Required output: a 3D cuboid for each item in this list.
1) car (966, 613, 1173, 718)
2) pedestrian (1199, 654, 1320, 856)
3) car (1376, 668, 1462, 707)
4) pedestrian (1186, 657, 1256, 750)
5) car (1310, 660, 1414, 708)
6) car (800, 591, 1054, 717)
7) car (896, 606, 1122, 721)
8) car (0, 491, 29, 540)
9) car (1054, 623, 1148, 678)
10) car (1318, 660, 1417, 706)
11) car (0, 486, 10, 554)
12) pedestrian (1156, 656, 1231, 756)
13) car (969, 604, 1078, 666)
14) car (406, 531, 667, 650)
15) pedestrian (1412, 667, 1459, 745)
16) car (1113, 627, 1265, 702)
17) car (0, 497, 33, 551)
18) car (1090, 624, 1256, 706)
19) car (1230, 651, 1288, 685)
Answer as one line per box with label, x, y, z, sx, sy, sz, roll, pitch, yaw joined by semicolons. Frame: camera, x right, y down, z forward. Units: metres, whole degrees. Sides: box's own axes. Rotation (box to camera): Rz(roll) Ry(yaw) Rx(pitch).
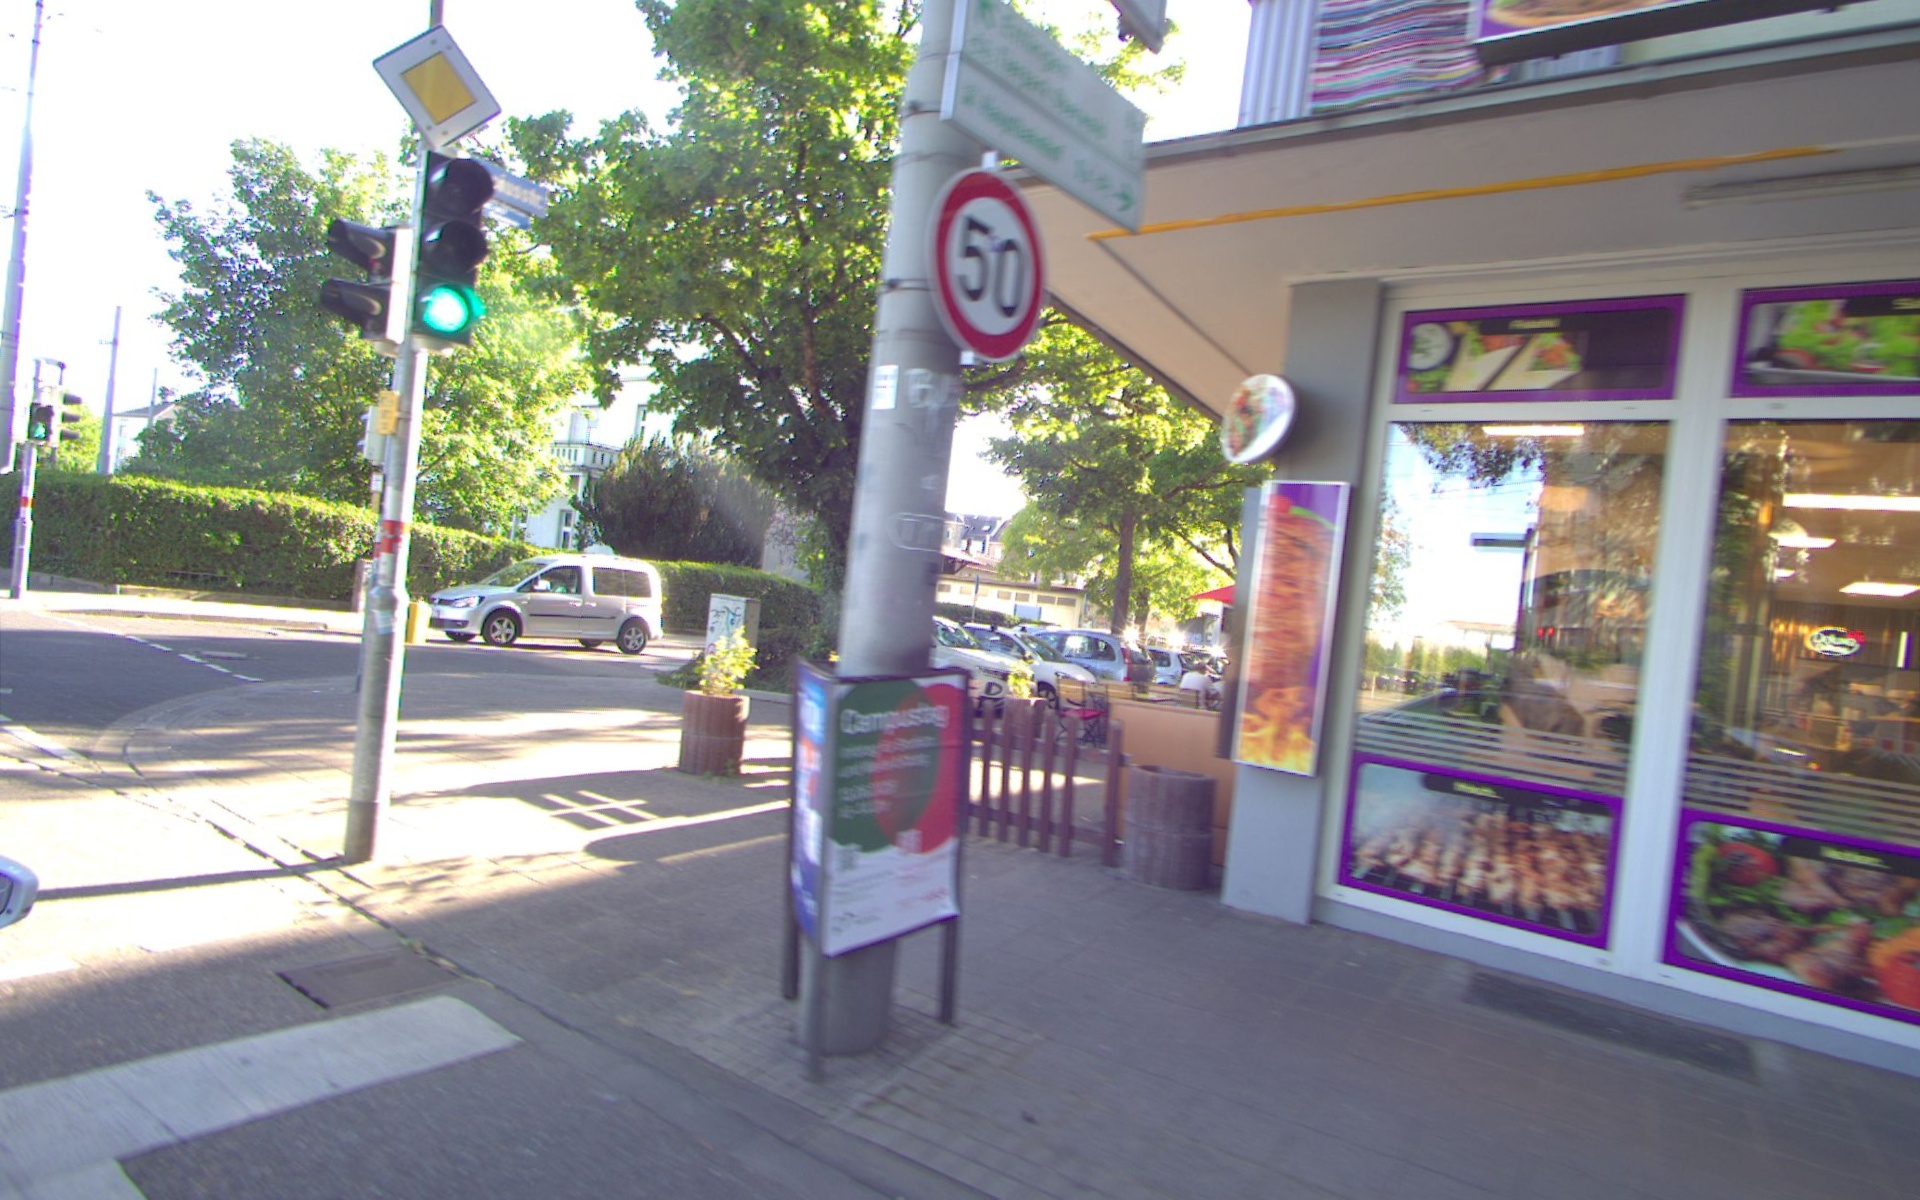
car;2.262;1.343;21.007;3.807;1.637;1.713;7;-1;31
pedestrian;2.218;1.119;7.441;0.597;1.358;0.492;7;0;35
car;24.172;4.601;52.984;3.807;1.498;1.713;6;-1;31
pedestrian;3.792;1.496;14.583;0.650;1.233;0.739;7;0;33
car;17.216;3.590;43.153;3.807;1.498;1.713;6;-1;31
car;-0.605;0.901;17.381;3.968;1.600;1.707;7;-1;31
car;0.906;1.177;19.231;3.839;1.637;1.713;7;-1;31
car;-32.060;-2.891;33.041;1.792;1.494;3.897;7;-1;-39
car;5.812;2.103;41.026;1.968;1.837;4.317;7;-1;34
car;18.339;3.729;45.304;3.807;1.498;1.713;6;-1;31
car;-25.455;-2.133;25.284;1.792;1.784;3.850;7;-1;-38
pedestrian;3.177;1.434;13.682;0.650;1.233;0.739;7;0;33
car;2.301;1.278;35.478;1.968;1.748;3.990;7;-1;34
car;-7.926;-0.109;19.184;1.780;1.835;4.176;3;-3;37
pedestrian;11.214;2.501;23.715;0.712;1.729;0.537;7;0;39
car;6.603;1.841;29.137;3.807;1.637;1.713;7;-1;31
car;-28.745;-2.348;29.594;1.792;1.494;3.897;7;-1;-39
car;5.631;1.704;26.690;3.807;1.637;1.713;7;-1;31
car;17.096;3.896;57.428;1.968;1.548;3.990;6;-1;34
